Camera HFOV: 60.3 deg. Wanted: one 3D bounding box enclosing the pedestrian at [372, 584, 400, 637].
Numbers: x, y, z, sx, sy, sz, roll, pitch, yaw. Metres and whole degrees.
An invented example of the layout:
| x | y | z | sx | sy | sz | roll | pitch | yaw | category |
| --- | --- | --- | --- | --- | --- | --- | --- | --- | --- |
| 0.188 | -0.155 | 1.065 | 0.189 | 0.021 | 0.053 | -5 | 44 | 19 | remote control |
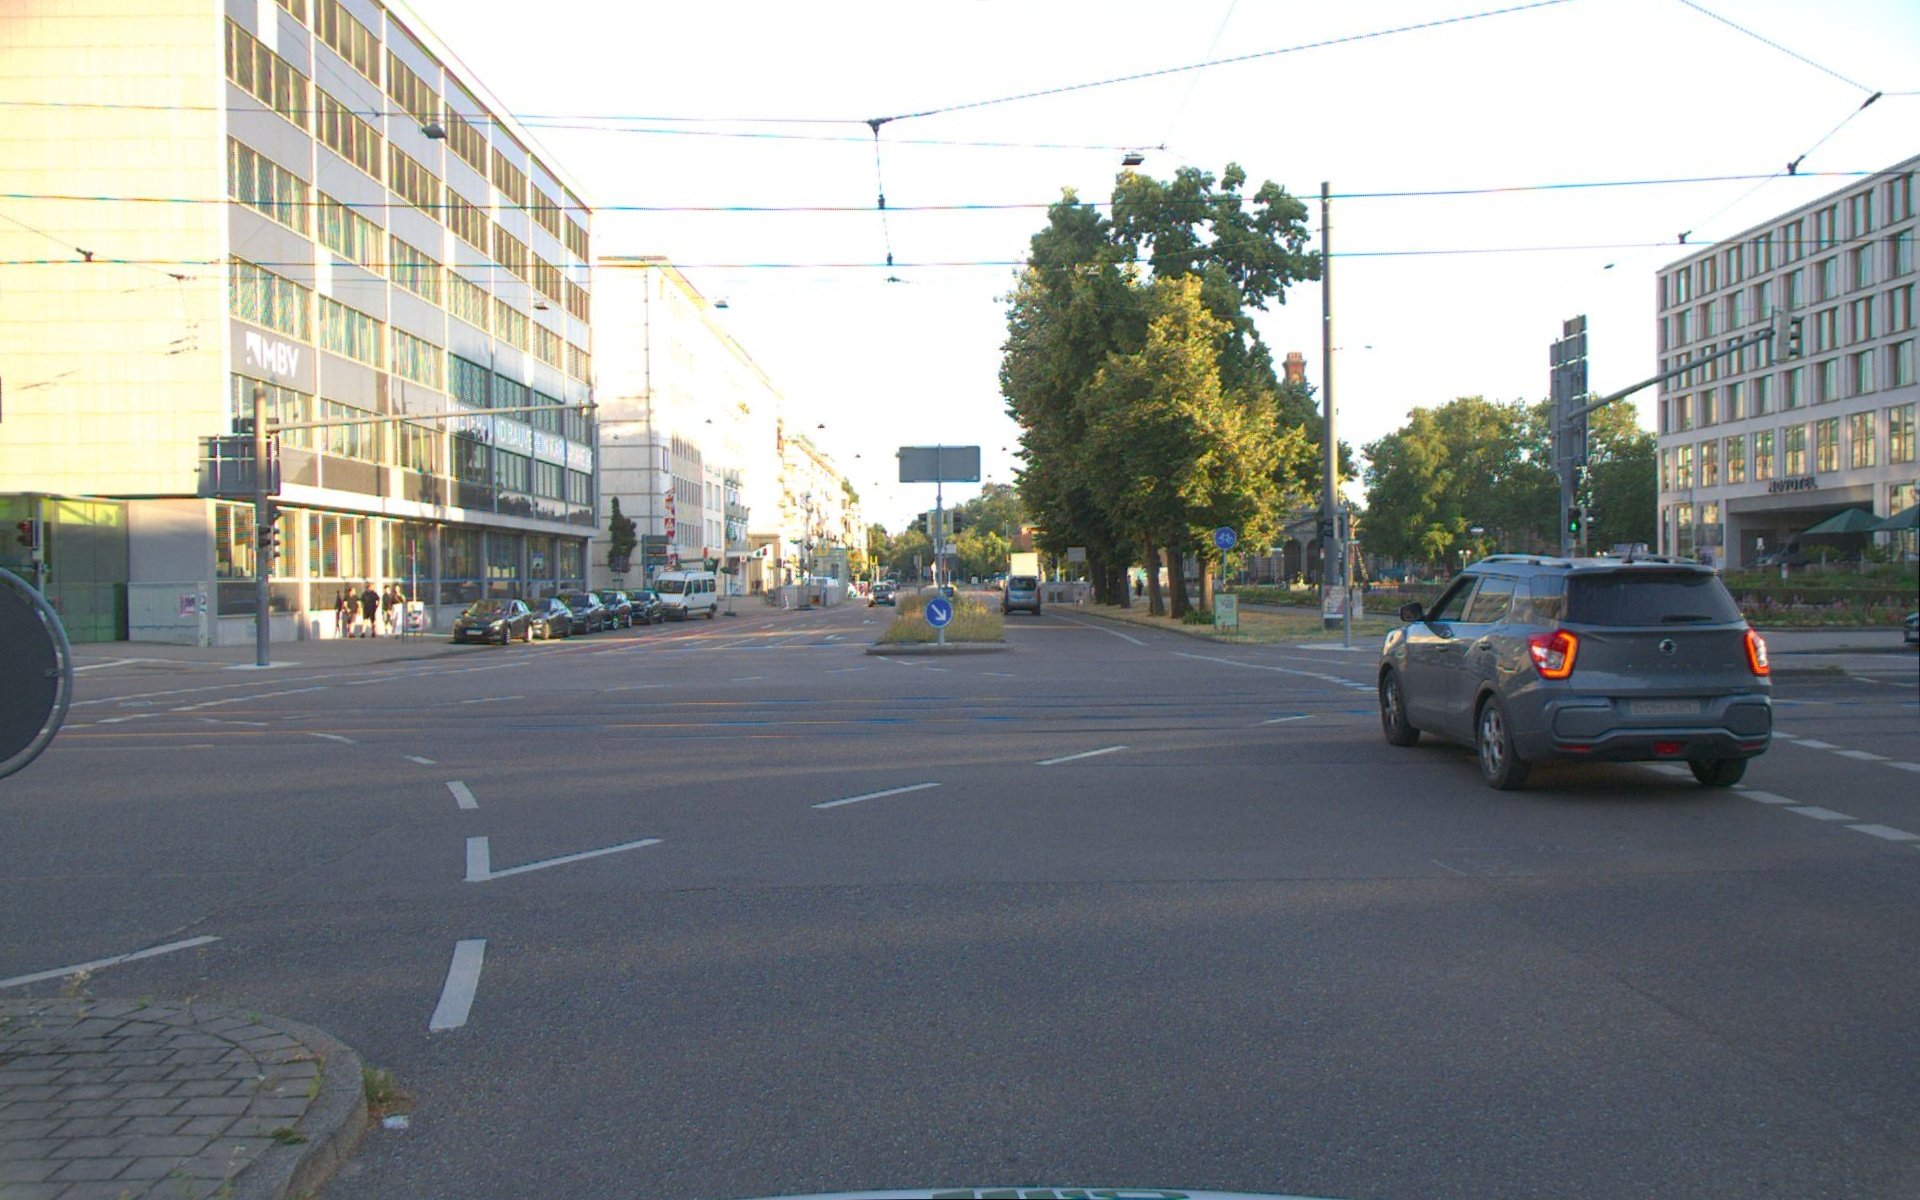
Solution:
| x | y | z | sx | sy | sz | roll | pitch | yaw | category |
| --- | --- | --- | --- | --- | --- | --- | --- | --- | --- |
| -19.743 | 0.354 | 56.879 | 0.724 | 1.799 | 0.672 | -1 | 0 | -4 | pedestrian |

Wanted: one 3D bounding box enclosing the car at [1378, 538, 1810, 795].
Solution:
| x | y | z | sx | sy | sz | roll | pitch | yaw | category |
| --- | --- | --- | --- | --- | --- | --- | --- | --- | --- |
| 4.604 | 0.402 | 12.689 | 1.659 | 1.633 | 4.089 | -1 | 1 | -1 | car |

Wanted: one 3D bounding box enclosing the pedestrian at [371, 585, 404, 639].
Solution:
| x | y | z | sx | sy | sz | roll | pitch | yaw | category |
| --- | --- | --- | --- | --- | --- | --- | --- | --- | --- |
| -19.339 | 0.395 | 55.893 | 0.824 | 1.799 | 0.785 | -1 | 0 | -4 | pedestrian |

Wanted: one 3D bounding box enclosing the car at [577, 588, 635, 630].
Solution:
| x | y | z | sx | sy | sz | roll | pitch | yaw | category |
| --- | --- | --- | --- | --- | --- | --- | --- | --- | --- |
| -15.366 | 0.350 | 71.929 | 1.658 | 1.694 | 3.868 | 3 | 0 | -1 | car |

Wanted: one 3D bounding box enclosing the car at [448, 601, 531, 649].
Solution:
| x | y | z | sx | sy | sz | roll | pitch | yaw | category |
| --- | --- | --- | --- | --- | --- | --- | --- | --- | --- |
| -15.664 | 0.808 | 55.252 | 1.658 | 1.435 | 3.868 | 3 | 0 | -1 | car |

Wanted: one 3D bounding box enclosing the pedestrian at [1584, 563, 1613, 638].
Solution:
| x | y | z | sx | sy | sz | roll | pitch | yaw | category |
| --- | --- | --- | --- | --- | --- | --- | --- | --- | --- |
| 14.165 | 0.005 | 36.717 | 0.524 | 1.654 | 0.628 | -1 | 0 | 17 | pedestrian |

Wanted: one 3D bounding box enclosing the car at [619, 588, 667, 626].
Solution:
| x | y | z | sx | sy | sz | roll | pitch | yaw | category |
| --- | --- | --- | --- | --- | --- | --- | --- | --- | --- |
| -14.928 | 0.313 | 78.095 | 1.468 | 1.694 | 3.868 | 3 | 0 | -1 | car |

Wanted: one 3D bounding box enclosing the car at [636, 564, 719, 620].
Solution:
| x | y | z | sx | sy | sz | roll | pitch | yaw | category |
| --- | --- | --- | --- | --- | --- | --- | --- | --- | --- |
| -14.370 | -0.404 | 84.600 | 2.190 | 2.675 | 5.858 | 3 | 0 | 10 | car |

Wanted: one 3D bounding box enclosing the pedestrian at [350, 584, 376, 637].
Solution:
| x | y | z | sx | sy | sz | roll | pitch | yaw | category |
| --- | --- | --- | --- | --- | --- | --- | --- | --- | --- |
| -20.483 | 0.340 | 56.779 | 0.640 | 1.799 | 0.645 | -1 | 0 | -4 | pedestrian |

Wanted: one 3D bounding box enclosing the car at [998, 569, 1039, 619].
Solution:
| x | y | z | sx | sy | sz | roll | pitch | yaw | category |
| --- | --- | --- | --- | --- | --- | --- | --- | --- | --- |
| 2.764 | -0.311 | 78.525 | 1.845 | 2.277 | 3.911 | -1 | 1 | 1 | car |

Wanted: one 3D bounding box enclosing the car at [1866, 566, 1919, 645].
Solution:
| x | y | z | sx | sy | sz | roll | pitch | yaw | category |
| --- | --- | --- | --- | --- | --- | --- | --- | --- | --- |
| 21.084 | 0.083 | 33.215 | 4.692 | 1.549 | 1.818 | -1 | -1 | 8 | car |

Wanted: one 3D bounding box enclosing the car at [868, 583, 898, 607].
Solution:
| x | y | z | sx | sy | sz | roll | pitch | yaw | category |
| --- | --- | --- | --- | --- | --- | --- | --- | --- | --- |
| -5.009 | -0.355 | 107.826 | 1.658 | 1.445 | 4.174 | -1 | 1 | 1 | car |

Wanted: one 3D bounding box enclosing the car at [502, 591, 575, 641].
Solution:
| x | y | z | sx | sy | sz | roll | pitch | yaw | category |
| --- | --- | --- | --- | --- | --- | --- | --- | --- | --- |
| -15.517 | 0.556 | 61.109 | 1.658 | 1.694 | 3.868 | 3 | 0 | -1 | car |

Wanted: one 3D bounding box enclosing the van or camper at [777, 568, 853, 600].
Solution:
| x | y | z | sx | sy | sz | roll | pitch | yaw | category |
| --- | --- | --- | --- | --- | --- | --- | --- | --- | --- |
| -11.174 | -1.238 | 127.594 | 5.452 | 2.204 | 2.222 | -3 | 1 | -31 | van or camper |

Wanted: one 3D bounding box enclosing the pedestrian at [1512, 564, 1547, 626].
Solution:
| x | y | z | sx | sy | sz | roll | pitch | yaw | category |
| --- | --- | --- | --- | --- | --- | --- | --- | --- | --- |
| 15.245 | -0.139 | 44.252 | 0.711 | 1.654 | 0.737 | -1 | 0 | 32 | pedestrian |

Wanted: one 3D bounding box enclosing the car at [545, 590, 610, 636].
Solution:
| x | y | z | sx | sy | sz | roll | pitch | yaw | category |
| --- | --- | --- | --- | --- | --- | --- | --- | --- | --- |
| -15.355 | 0.492 | 66.608 | 1.658 | 1.694 | 3.868 | 3 | 0 | 0 | car |

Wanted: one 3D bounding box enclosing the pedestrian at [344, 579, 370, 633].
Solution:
| x | y | z | sx | sy | sz | roll | pitch | yaw | category |
| --- | --- | --- | --- | --- | --- | --- | --- | --- | --- |
| -20.398 | 0.185 | 55.950 | 0.640 | 1.799 | 0.645 | -1 | 0 | -4 | pedestrian |
